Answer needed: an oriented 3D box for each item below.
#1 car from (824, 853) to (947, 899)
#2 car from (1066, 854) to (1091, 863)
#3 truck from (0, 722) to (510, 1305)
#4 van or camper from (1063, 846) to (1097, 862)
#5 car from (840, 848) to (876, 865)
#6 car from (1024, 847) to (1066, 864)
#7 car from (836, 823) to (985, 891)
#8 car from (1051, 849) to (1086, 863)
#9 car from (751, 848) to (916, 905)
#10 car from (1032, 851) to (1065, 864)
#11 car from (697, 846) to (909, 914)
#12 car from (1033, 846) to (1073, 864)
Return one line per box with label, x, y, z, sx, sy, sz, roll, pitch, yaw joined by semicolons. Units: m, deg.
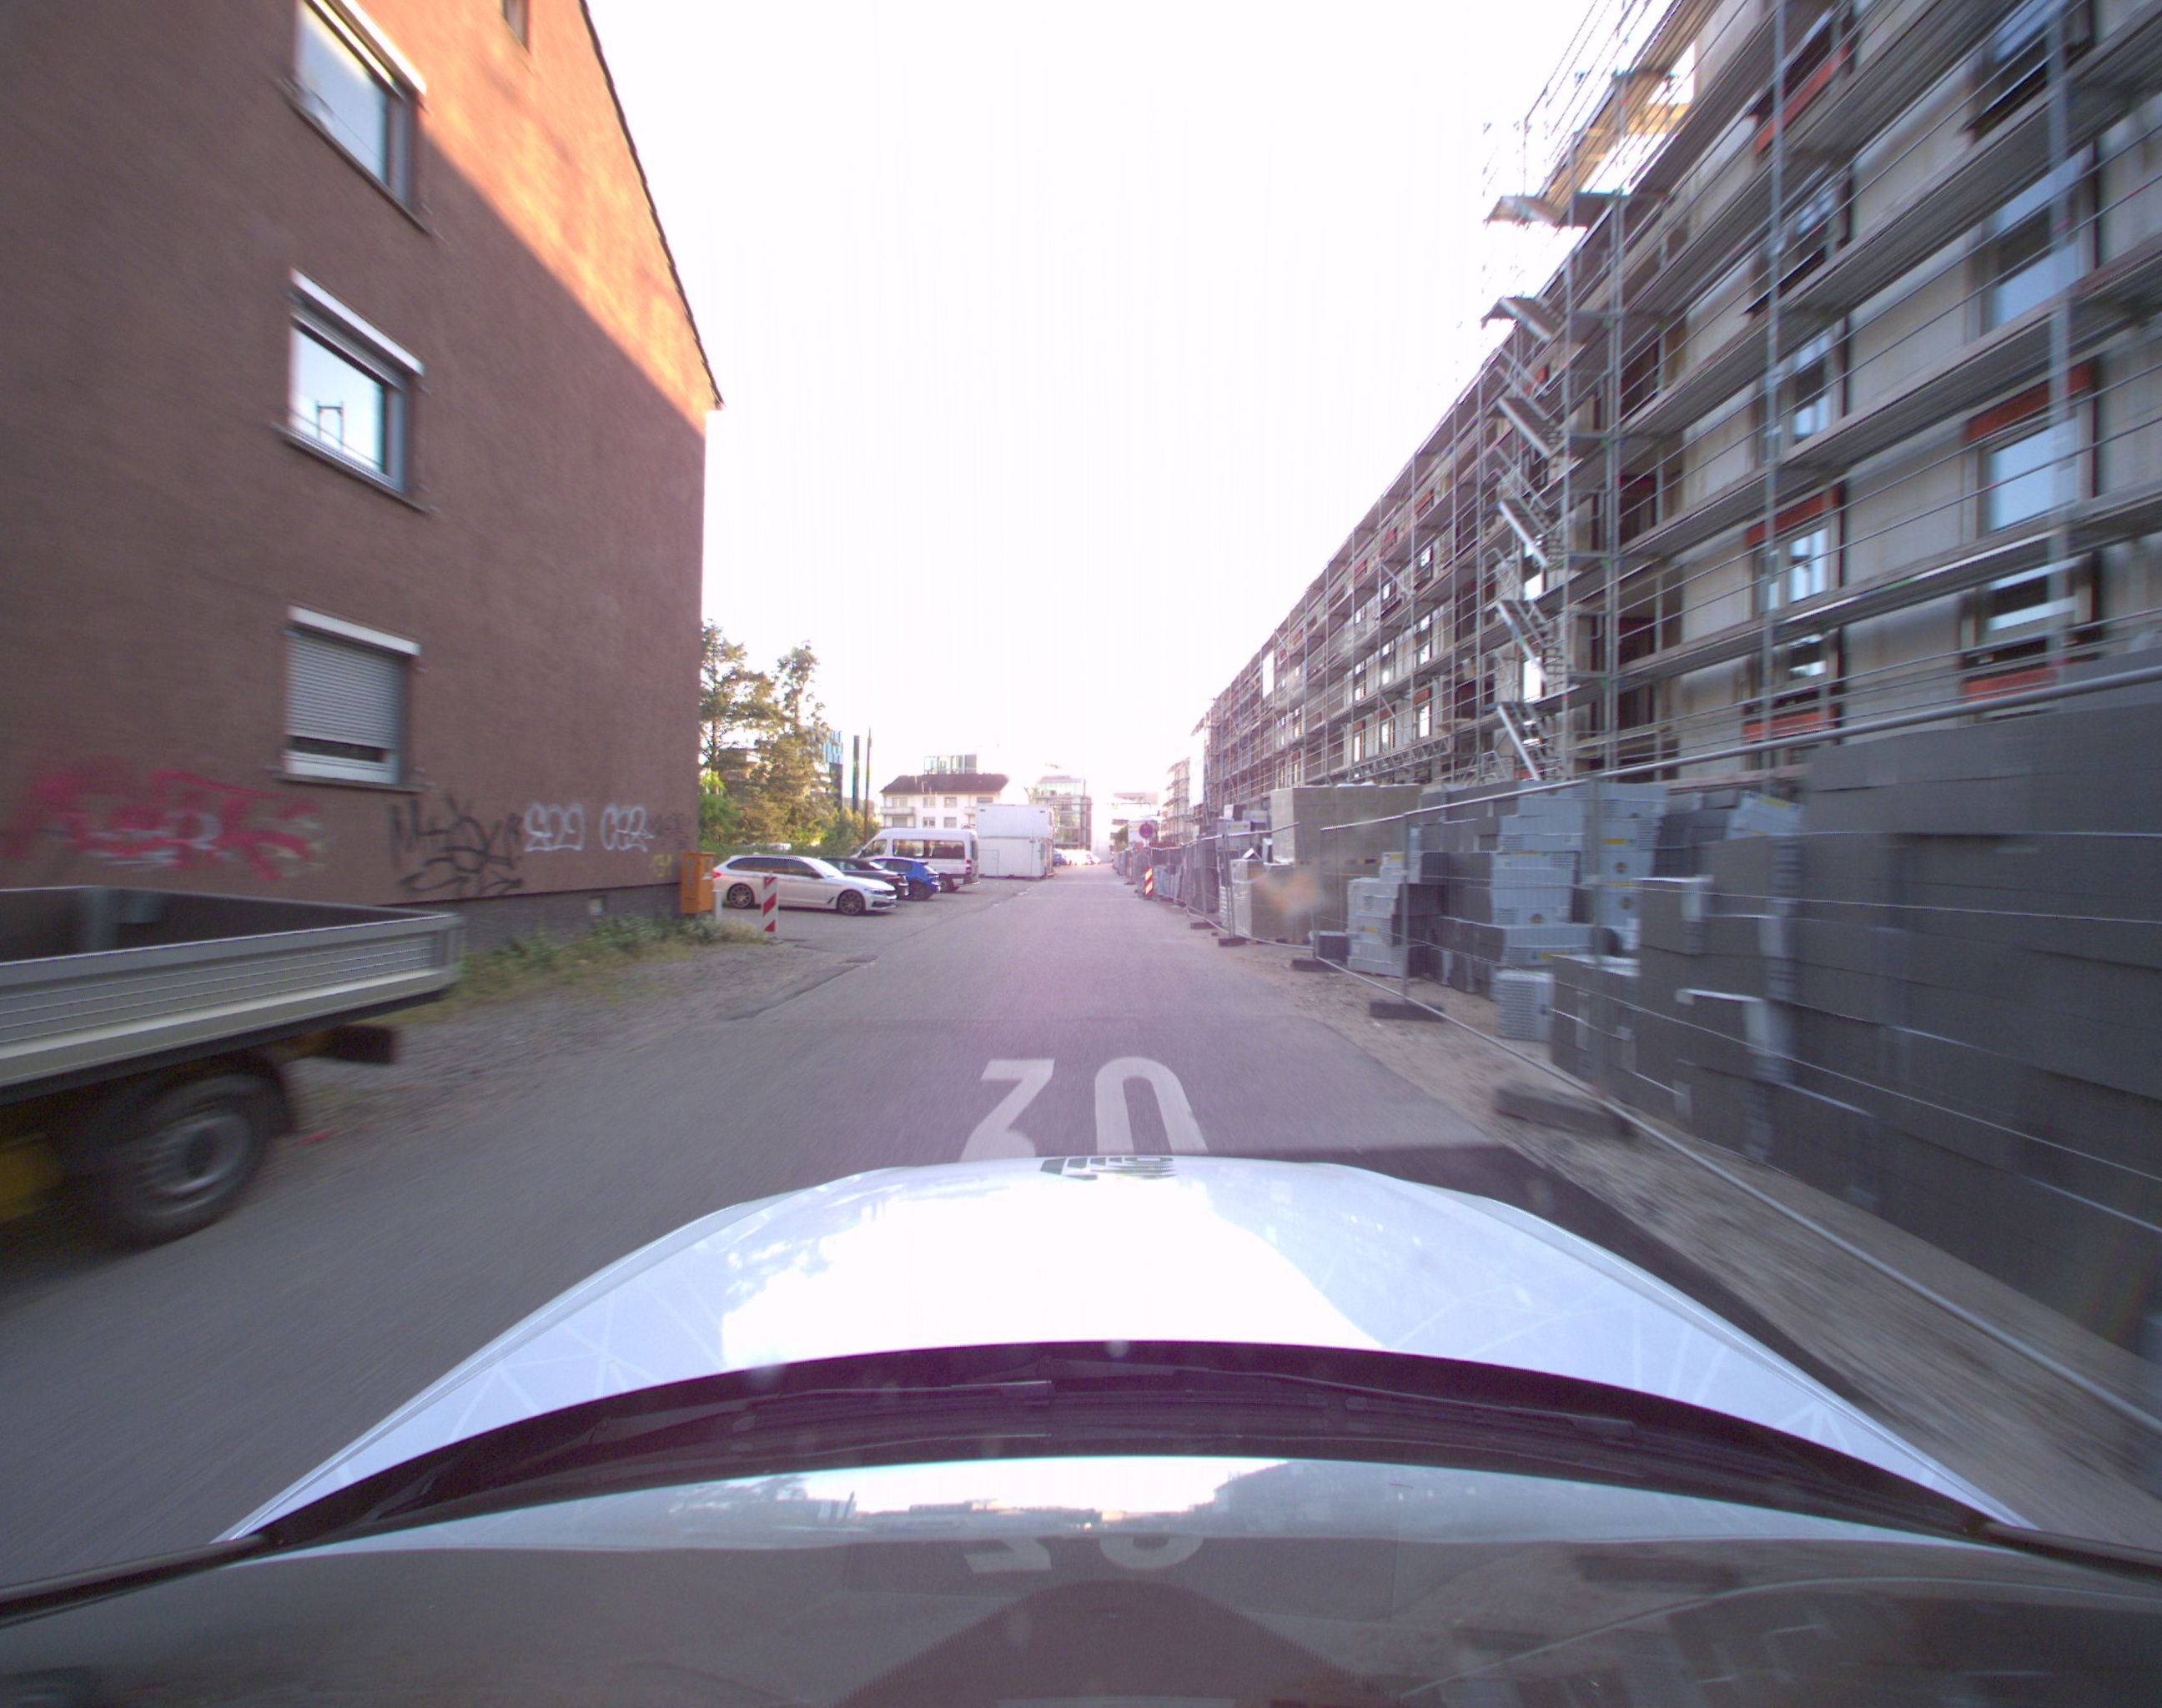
car;-6.752;0.741;28.360;3.826;1.429;1.726;2;0;-2
car;-0.467;0.792;153.162;4.476;1.648;2.006;0;0;10
truck;-4.549;0.489;2.084;2.027;1.913;5.662;2;-1;1
van or camper;-0.177;-0.005;158.892;6.288;2.979;2.301;1;-1;13
car;-28.181;0.314;103.267;2.293;2.014;5.073;1;0;11
car;-5.545;0.205;125.893;6.305;2.651;2.001;0;0;1
car;-7.108;0.123;34.318;5.666;2.626;2.223;2;0;2
car;-2.193;0.306;145.073;5.884;2.490;2.007;0;0;12
car;-7.384;0.667;24.614;4.405;1.544;1.726;2;0;-3
car;-4.542;0.477;112.039;4.496;1.868;1.997;0;0;-5
car;-7.463;0.672;22.231;4.973;1.544;2.117;3;0;2
car;-4.473;0.152;129.746;6.305;2.741;2.001;0;0;1
